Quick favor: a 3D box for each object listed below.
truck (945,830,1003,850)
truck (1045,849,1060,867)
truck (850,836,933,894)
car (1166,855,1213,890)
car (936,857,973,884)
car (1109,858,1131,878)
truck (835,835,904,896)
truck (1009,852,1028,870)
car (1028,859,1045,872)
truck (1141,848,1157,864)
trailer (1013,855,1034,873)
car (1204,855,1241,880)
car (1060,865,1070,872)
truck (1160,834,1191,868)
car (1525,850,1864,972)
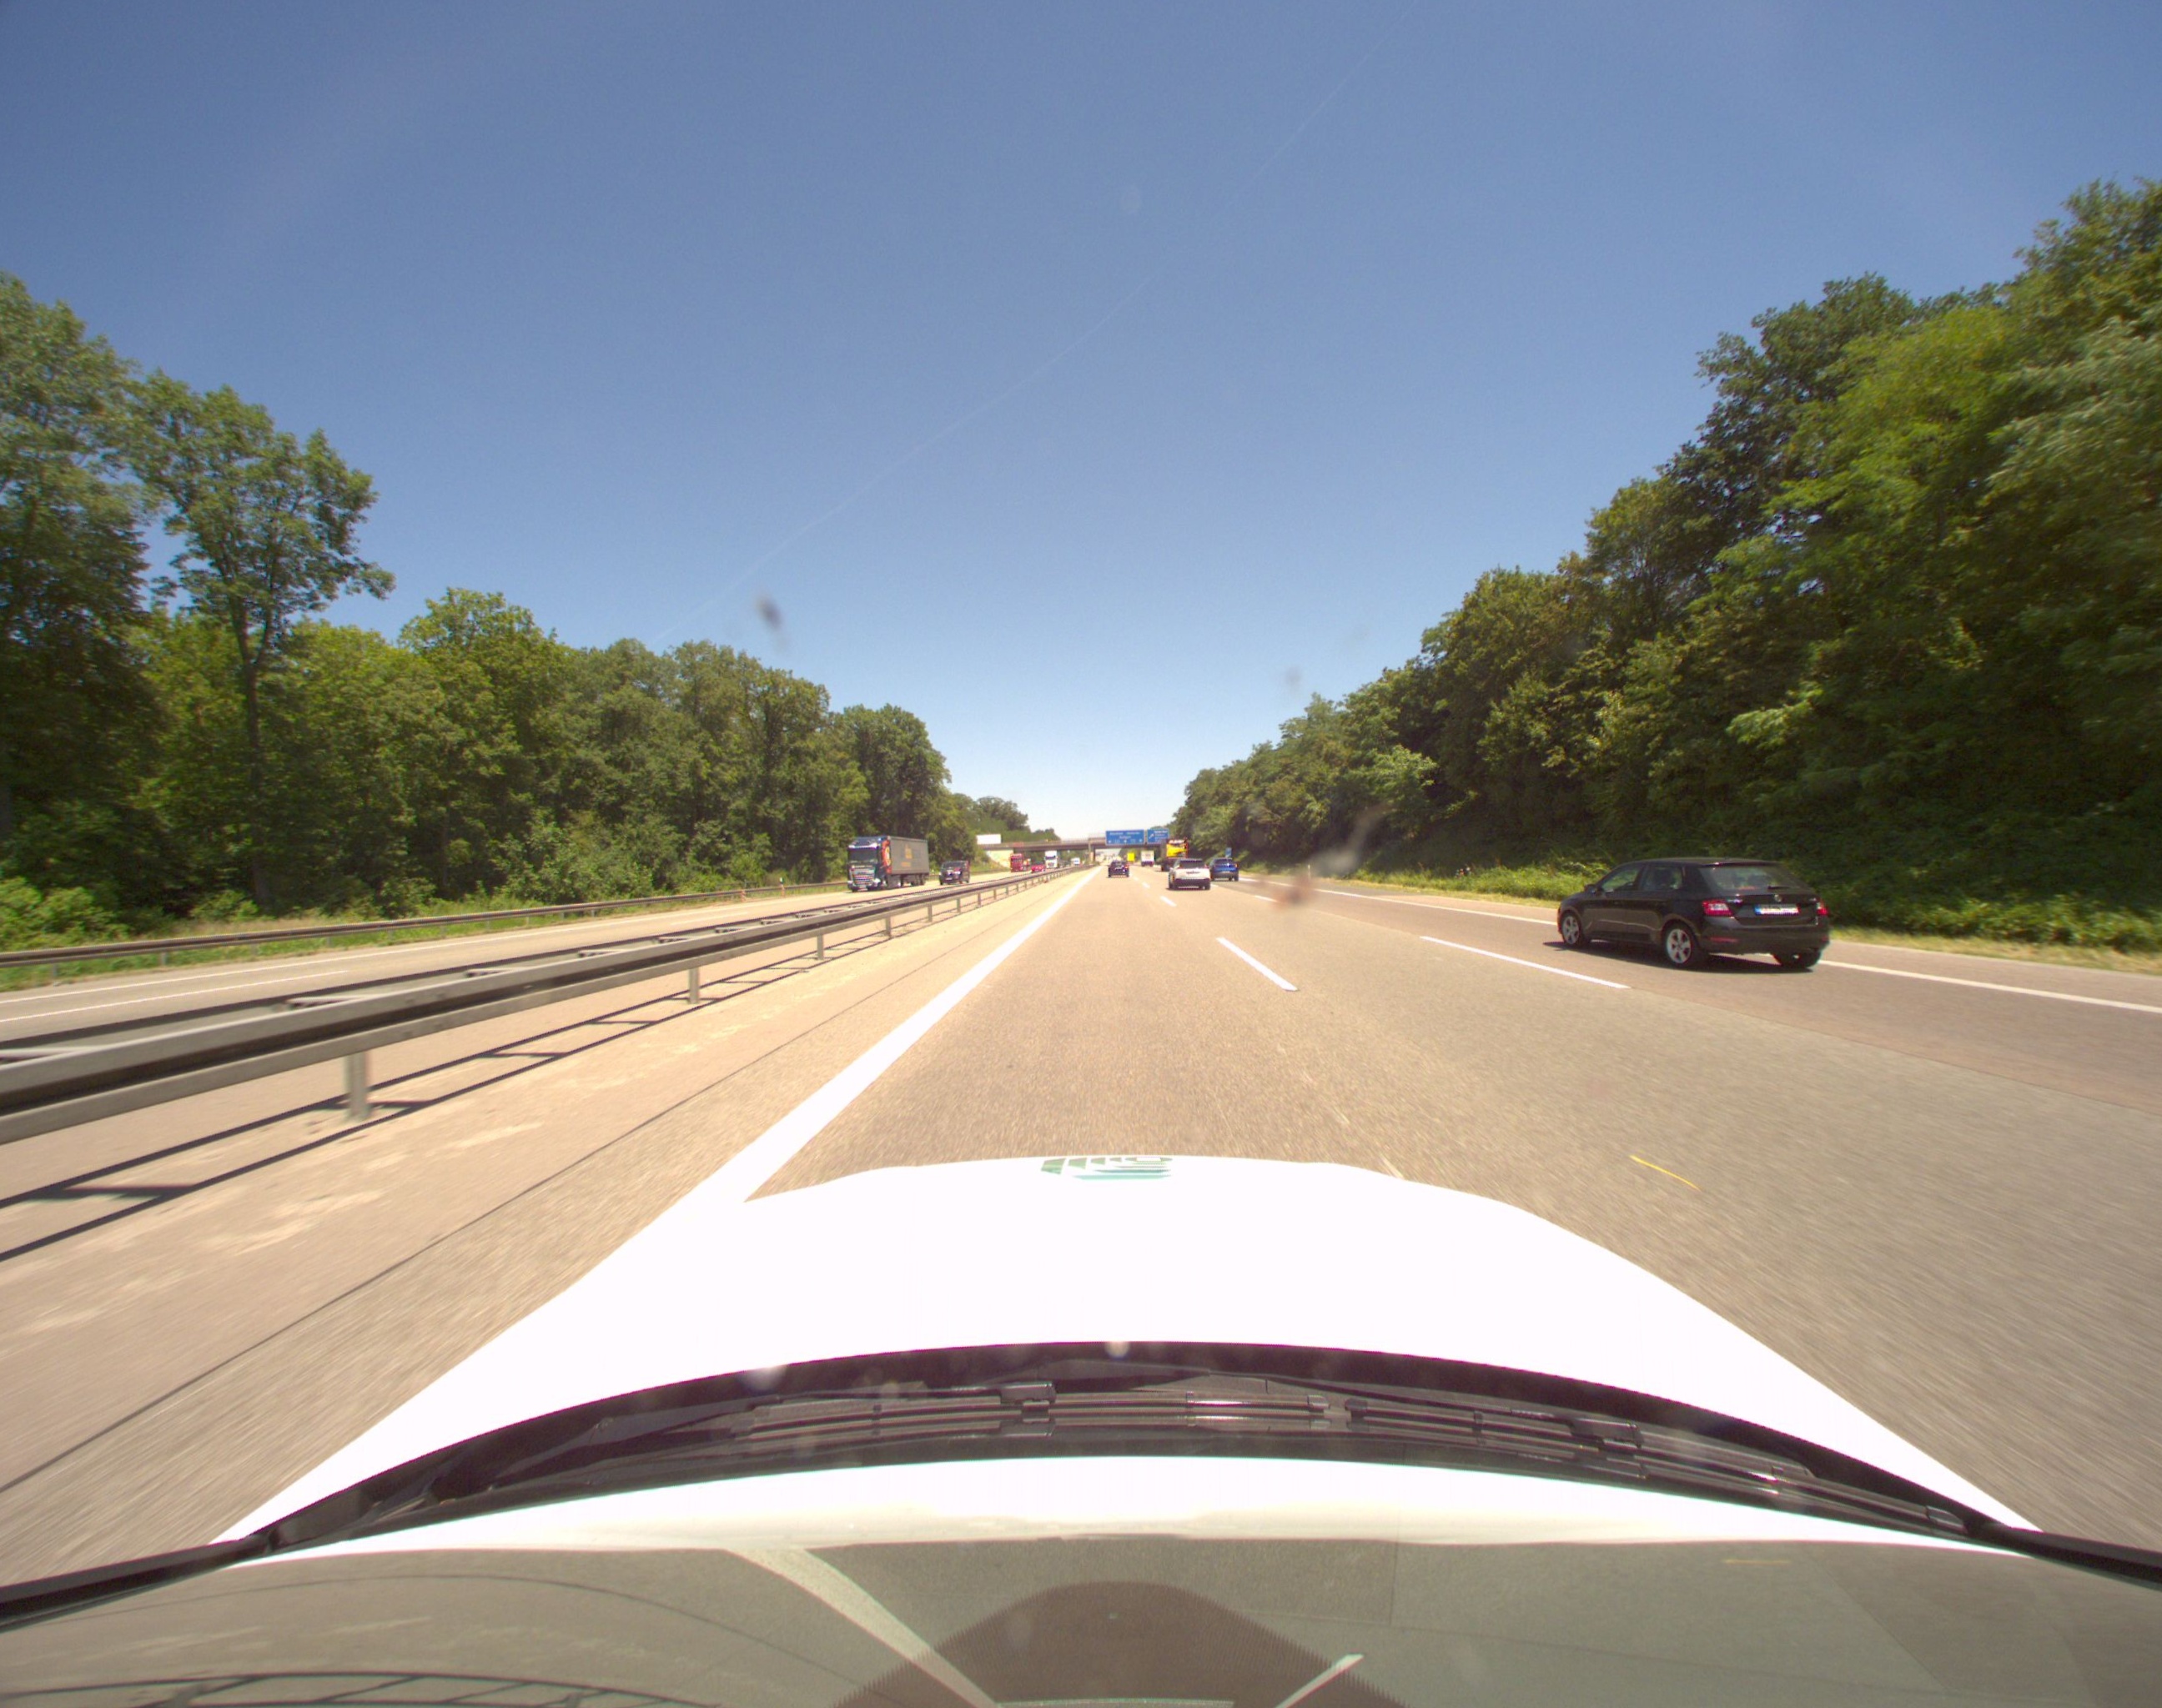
[{"bbox_3d":[-31.125,-4.157,236.892,16.437,5.566,3.168,0,-1,-6],"label":"truck"},{"bbox_3d":[-6.707,1.025,190.466,2.974,4.019,6.045,-1,-1,3],"label":"truck"},{"bbox_3d":[-15.475,0.943,68.103,3.311,4.342,13.914,-1,-1,2],"label":"truck"},{"bbox_3d":[5.371,0.890,40.676,1.820,1.608,4.810,-1,-1,2],"label":"car"},{"bbox_3d":[-10.636,1.386,69.029,1.986,2.013,5.361,-4,-1,2],"label":"car"},{"bbox_3d":[3.348,1.197,70.031,1.820,1.706,4.001,-1,-1,2],"label":"car"},{"bbox_3d":[-15.731,0.853,61.147,3.311,4.342,6.615,-1,-1,1],"label":"truck"},{"bbox_3d":[-12.126,1.387,157.679,2.738,3.394,7.665,-1,-1,2],"label":"truck"},{"bbox_3d":[-5.888,1.541,107.870,1.724,1.585,4.647,-1,-1,3],"label":"car"},{"bbox_3d":[14.971,0.528,178.326,3.013,3.319,10.789,-1,-1,6],"label":"truck"},{"bbox_3d":[-11.690,2.043,166.317,2.768,3.394,13.296,-1,-1,2],"label":"trailer"},{"bbox_3d":[9.428,0.891,54.609,1.863,1.556,4.203,-1,-1,2],"label":"car"},{"bbox_3d":[-3.558,3.243,182.698,1.800,1.591,4.671,-1,-1,2],"label":"car"},{"bbox_3d":[11.507,-0.288,100.471,2.963,4.037,10.986,0,-1,2],"label":"truck"},{"bbox_3d":[8.602,0.709,12.048,1.663,1.447,4.575,-1,-1,2],"label":"car"}]
